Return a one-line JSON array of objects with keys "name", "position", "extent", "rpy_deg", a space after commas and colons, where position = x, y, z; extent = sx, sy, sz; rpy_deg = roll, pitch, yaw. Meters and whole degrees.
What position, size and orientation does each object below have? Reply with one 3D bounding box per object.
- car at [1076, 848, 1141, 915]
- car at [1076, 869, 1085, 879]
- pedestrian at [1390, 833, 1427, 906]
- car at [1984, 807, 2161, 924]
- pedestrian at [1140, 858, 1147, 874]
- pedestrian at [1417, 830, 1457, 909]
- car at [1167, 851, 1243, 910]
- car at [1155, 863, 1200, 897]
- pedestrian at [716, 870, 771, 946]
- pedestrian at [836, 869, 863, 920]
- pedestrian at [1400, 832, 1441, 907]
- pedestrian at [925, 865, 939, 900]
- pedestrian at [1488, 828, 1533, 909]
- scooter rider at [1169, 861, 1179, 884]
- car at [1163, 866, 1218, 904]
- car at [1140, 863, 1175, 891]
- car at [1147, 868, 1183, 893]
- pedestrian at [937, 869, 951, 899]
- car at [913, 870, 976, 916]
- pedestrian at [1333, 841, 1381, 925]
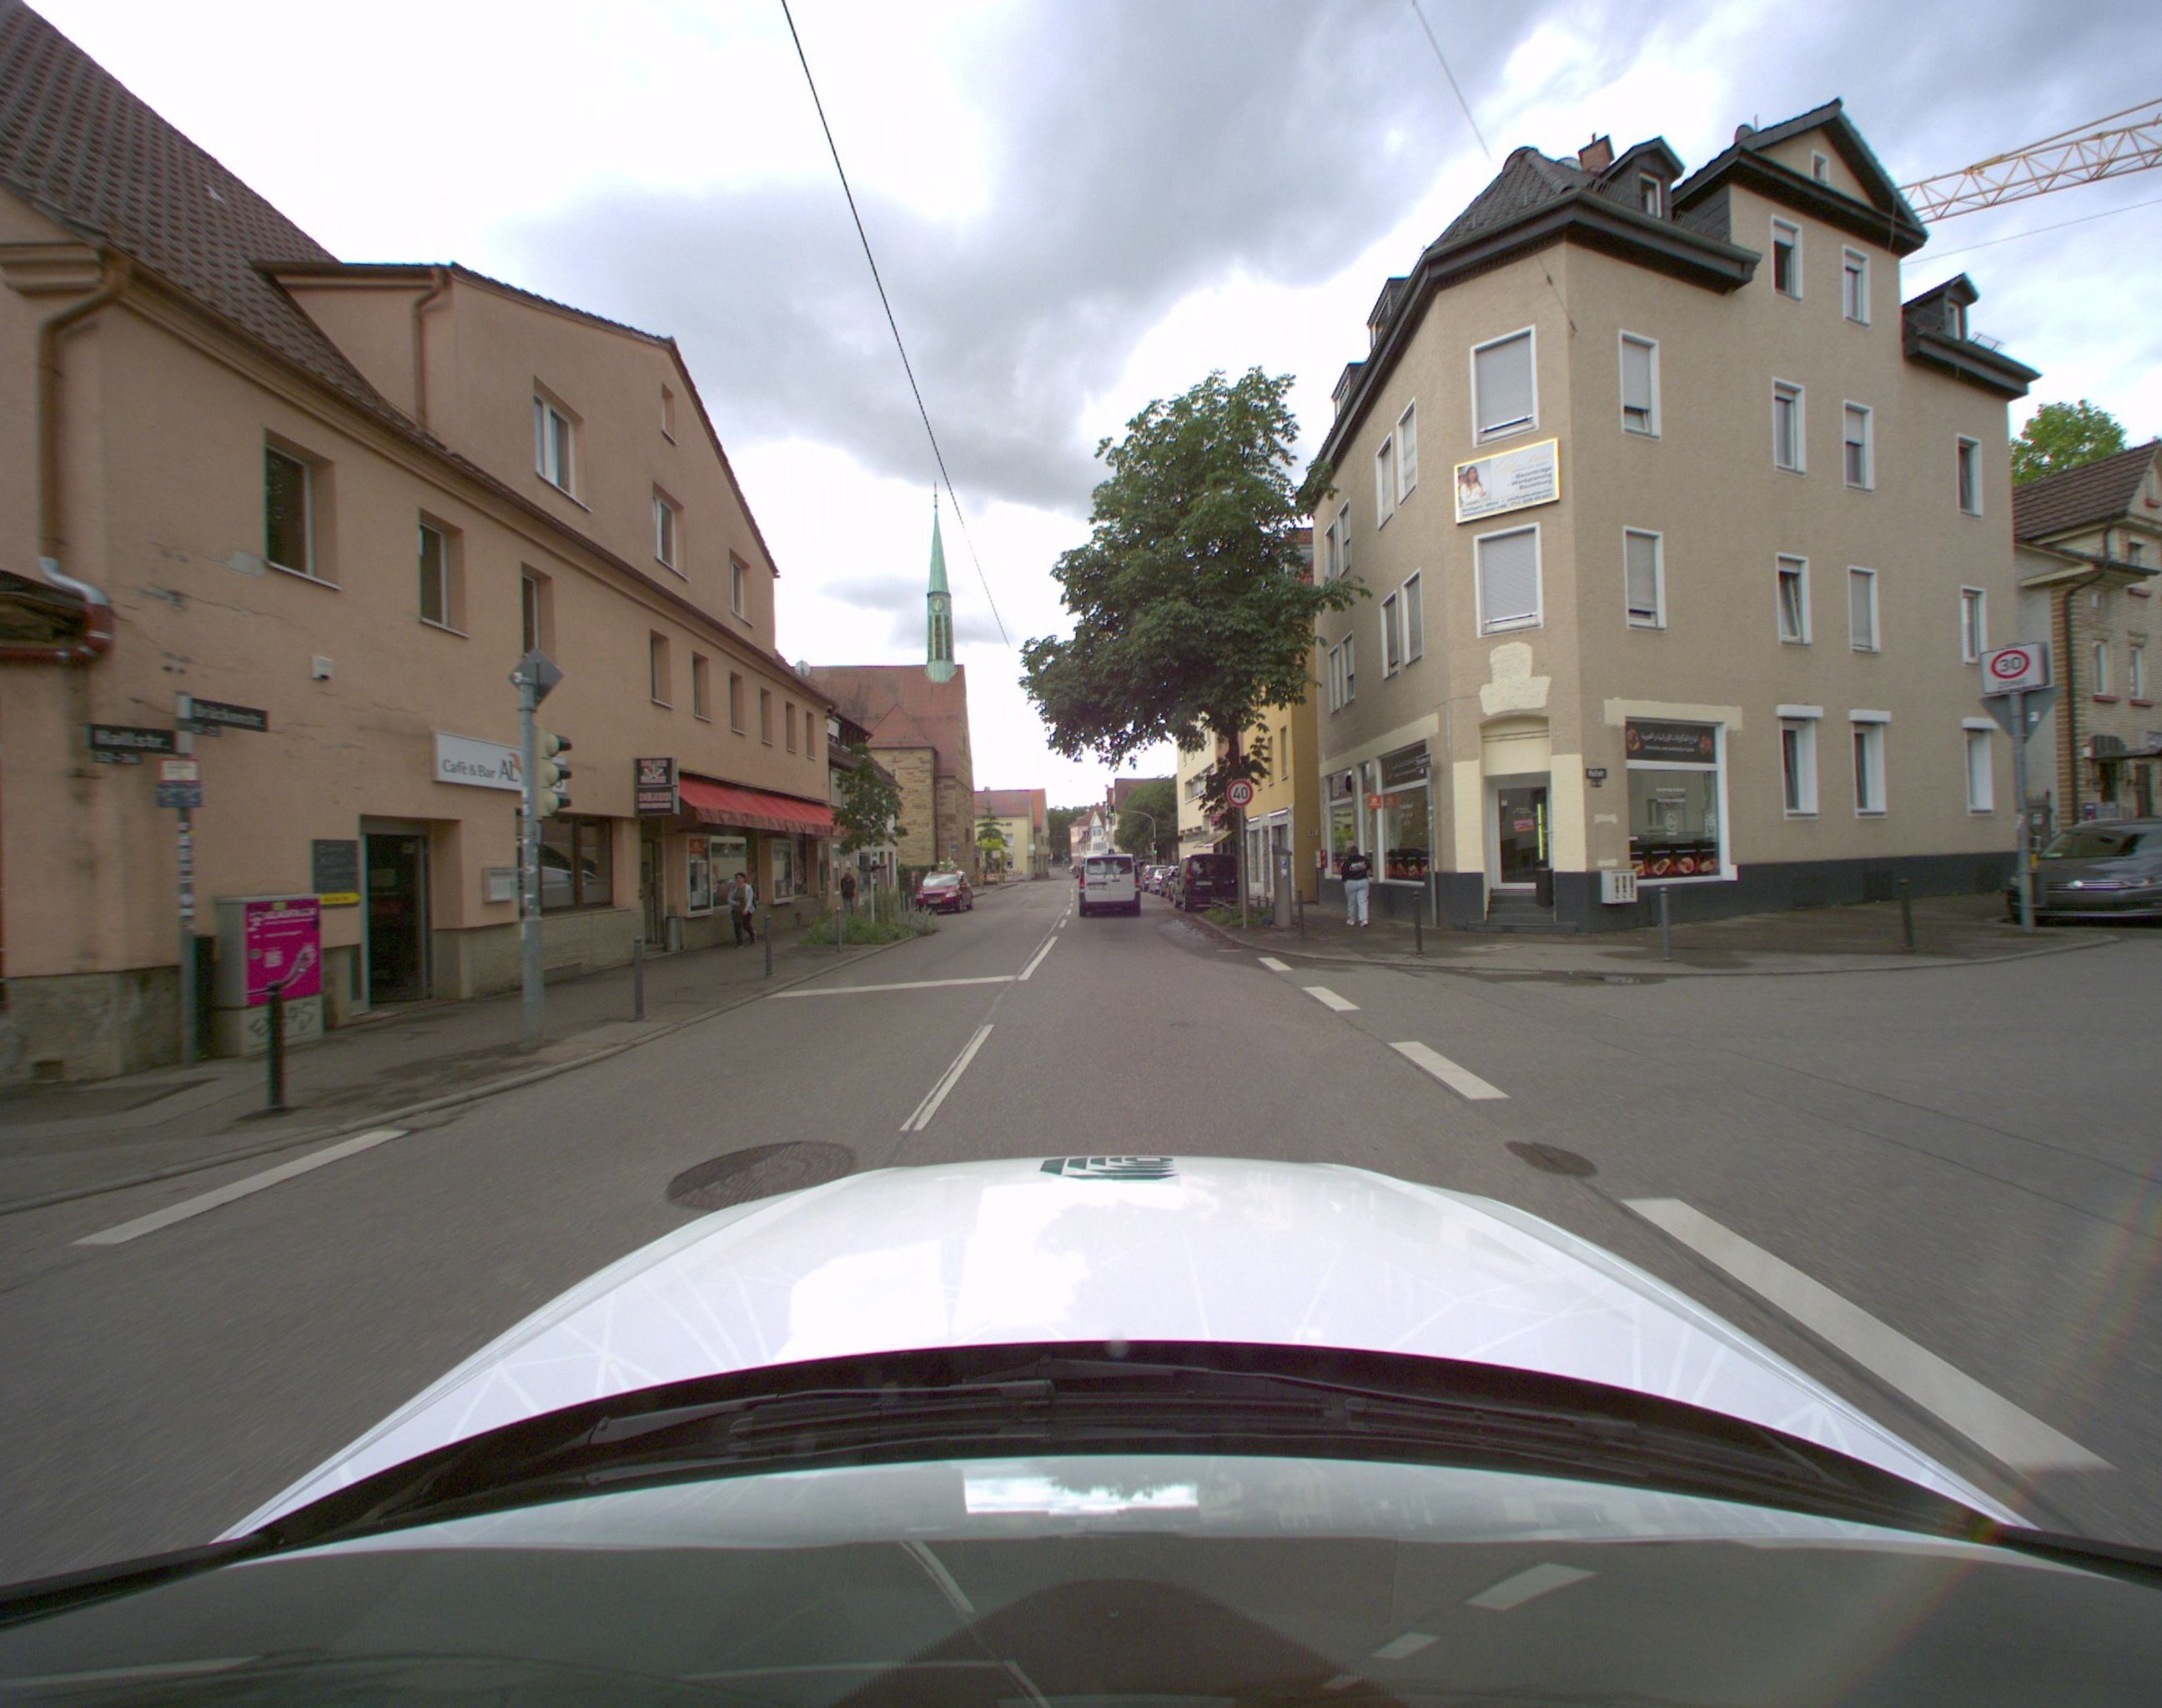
[{"name": "car", "position": [0.858, 0.862, 25.906], "extent": [1.866, 1.912, 4.001], "rpy_deg": [-1, -2, 1]}, {"name": "car", "position": [-0.060, 4.358, 178.759], "extent": [1.929, 2.014, 3.998], "rpy_deg": [-1, -1, -1]}, {"name": "pedestrian", "position": [7.188, 0.338, 17.909], "extent": [0.565, 1.561, 0.556], "rpy_deg": [-1, -2, 1]}, {"name": "car", "position": [16.784, 0.177, 12.910], "extent": [4.234, 1.621, 1.873], "rpy_deg": [0, -1, -21]}, {"name": "pedestrian", "position": [6.776, 1.314, 88.004], "extent": [0.599, 1.716, 0.861], "rpy_deg": [-2, -1, 7]}, {"name": "pedestrian", "position": [7.162, 0.315, 16.410], "extent": [0.565, 1.561, 0.521], "rpy_deg": [-1, -2, 1]}, {"name": "car", "position": [4.078, 0.869, 27.508], "extent": [1.814, 1.781, 4.401], "rpy_deg": [-1, -1, -1]}, {"name": "car", "position": [4.618, 1.237, 39.408], "extent": [1.597, 1.518, 4.207], "rpy_deg": [-2, -1, 0]}, {"name": "pedestrian", "position": [-7.169, 1.128, 17.335], "extent": [0.736, 1.535, 0.982], "rpy_deg": [-1, -1, -1]}, {"name": "pedestrian", "position": [-7.595, 1.320, 26.662], "extent": [0.733, 1.628, 0.753], "rpy_deg": [-1, -1, -23]}, {"name": "pedestrian", "position": [7.195, 0.324, 17.273], "extent": [0.565, 1.561, 0.655], "rpy_deg": [-1, -2, 1]}, {"name": "pedestrian", "position": [-7.960, 1.520, 43.509], "extent": [0.569, 1.848, 0.697], "rpy_deg": [1, -1, 1]}, {"name": "pedestrian", "position": [8.379, 0.283, 15.904], "extent": [0.565, 1.561, 0.521], "rpy_deg": [-1, -2, 1]}, {"name": "scooter rider", "position": [6.591, 1.305, 57.814], "extent": [0.453, 1.632, 0.502], "rpy_deg": [-4, -3, -14]}, {"name": "car", "position": [4.485, 1.234, 33.947], "extent": [1.744, 1.406, 4.512], "rpy_deg": [-2, -1, 1]}, {"name": "car", "position": [4.601, 1.377, 49.479], "extent": [1.706, 1.560, 3.784], "rpy_deg": [-1, -1, -1]}, {"name": "car", "position": [4.586, 1.432, 44.809], "extent": [1.546, 1.333, 3.811], "rpy_deg": [-1, -1, 0]}, {"name": "pedestrian", "position": [-7.193, 1.592, 42.754], "extent": [0.569, 1.554, 0.697], "rpy_deg": [0, -1, 1]}, {"name": "car", "position": [-5.426, 1.495, 32.832], "extent": [1.697, 1.574, 4.450], "rpy_deg": [-3, 0, 0]}, {"name": "pedestrian", "position": [5.712, 0.587, 16.877], "extent": [0.612, 1.653, 0.982], "rpy_deg": [-2, -1, 0]}]
